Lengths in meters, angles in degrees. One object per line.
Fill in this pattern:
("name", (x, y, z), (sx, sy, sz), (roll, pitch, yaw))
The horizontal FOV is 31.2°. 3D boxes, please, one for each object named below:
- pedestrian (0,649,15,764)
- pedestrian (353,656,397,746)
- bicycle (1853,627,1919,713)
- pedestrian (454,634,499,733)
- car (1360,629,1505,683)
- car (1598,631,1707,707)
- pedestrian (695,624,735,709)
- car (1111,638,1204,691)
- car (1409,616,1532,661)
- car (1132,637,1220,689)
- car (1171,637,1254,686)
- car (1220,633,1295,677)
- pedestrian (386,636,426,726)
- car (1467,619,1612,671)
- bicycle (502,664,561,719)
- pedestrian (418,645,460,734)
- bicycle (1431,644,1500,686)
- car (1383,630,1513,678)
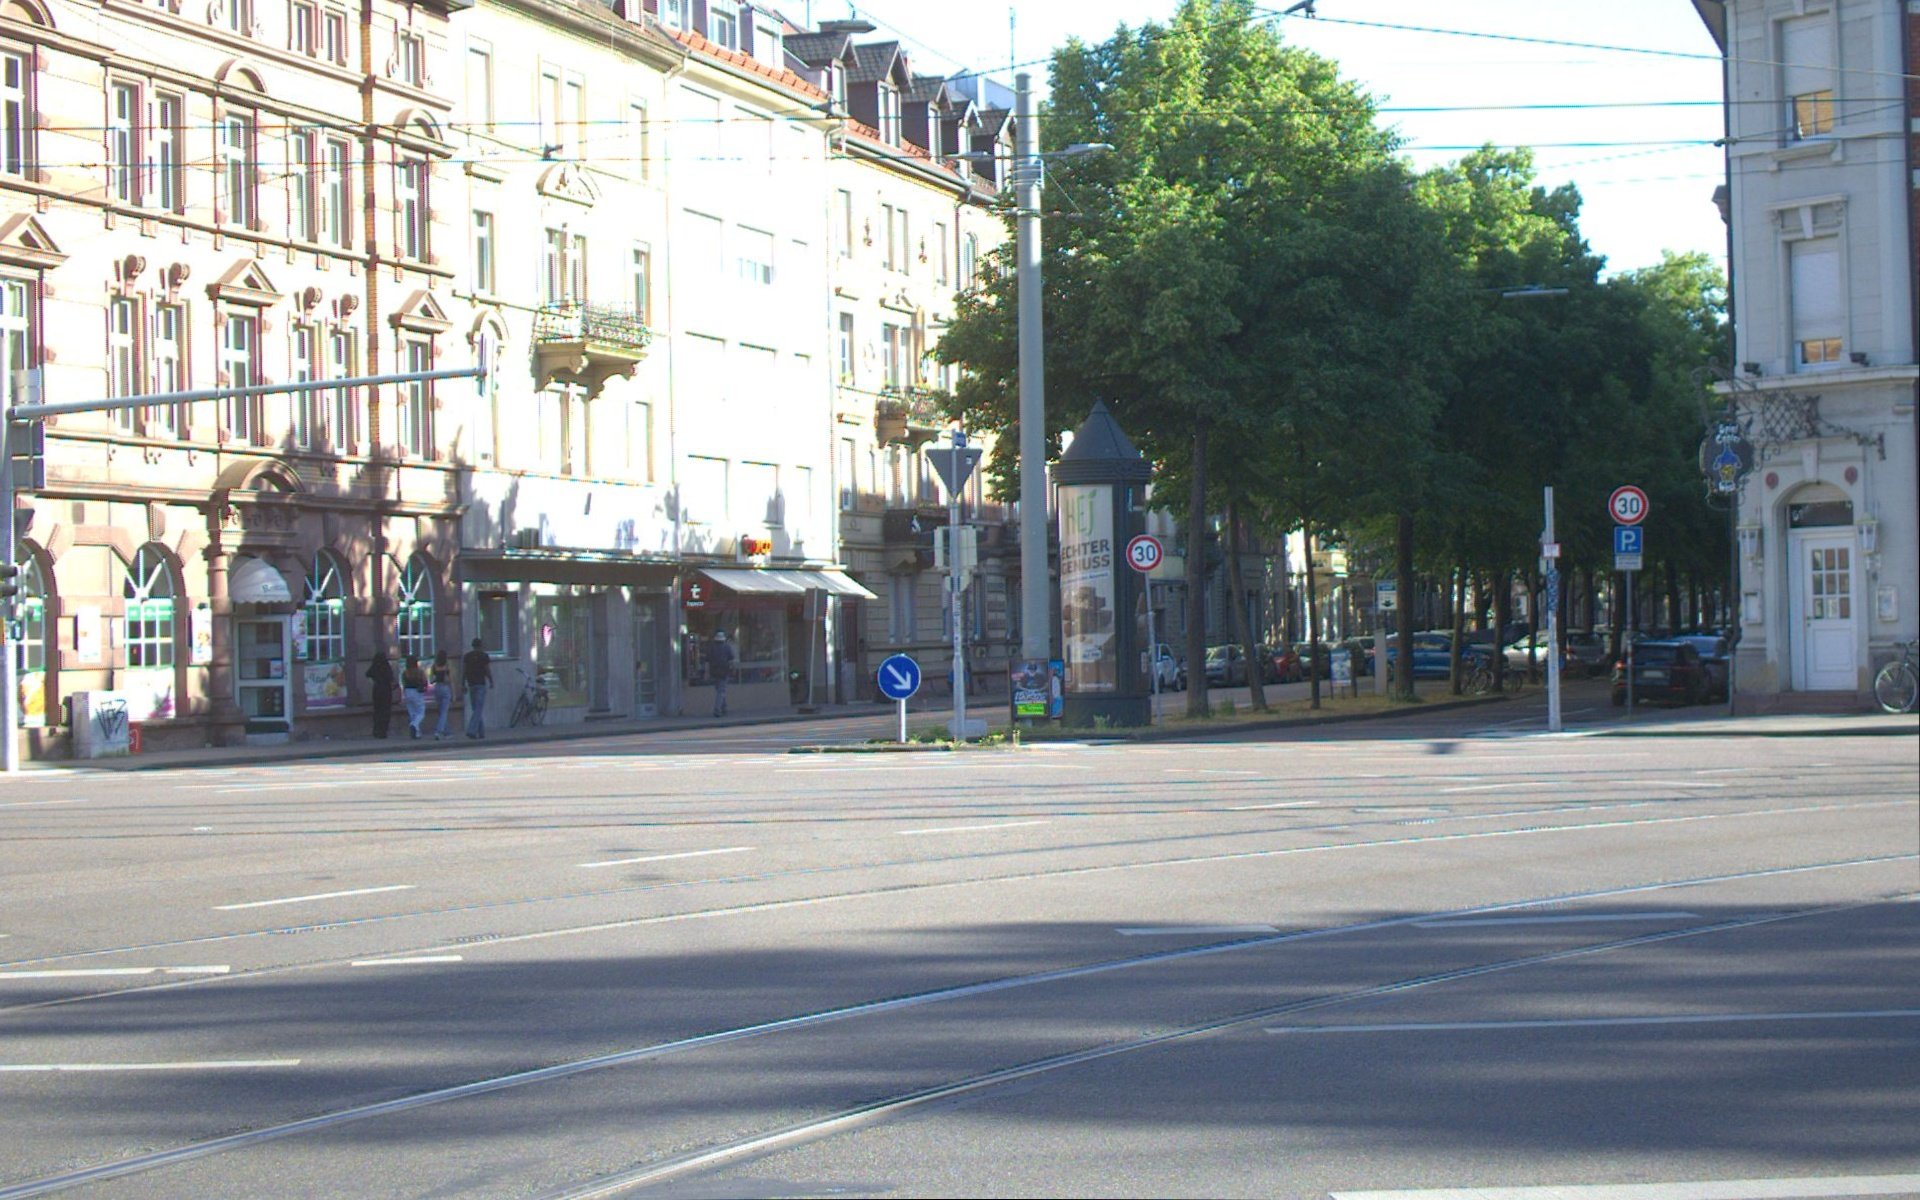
("pedestrian", (-13.953, 1.524, 49.147), (0.631, 1.636, 0.552), (-1, 0, 14))
("pedestrian", (-10.837, 1.866, 63.715), (0.627, 1.636, 0.537), (-1, 0, 11))
("bicycle", (13.654, 0.968, 48.464), (1.961, 1.187, 0.546), (-1, 0, 6))
("pedestrian", (-9.050, 1.564, 64.304), (0.580, 1.830, 0.632), (-2, 0, 17))
("car", (14.693, 1.740, 106.946), (3.993, 1.540, 1.997), (-2, 0, 29))
("car", (14.874, 1.465, 73.676), (1.995, 1.492, 4.031), (-1, 0, 15))
("pedestrian", (-5.609, 1.516, 78.620), (0.682, 1.902, 0.632), (-2, 0, 17))
("car", (6.018, 1.935, 104.311), (1.995, 1.492, 4.031), (-1, 0, 15))
("car", (18.645, 1.398, 125.563), (3.993, 1.540, 1.997), (-2, 0, 29))
("car", (6.838, 1.978, 108.608), (1.995, 1.492, 4.031), (-1, 0, 15))
("car", (8.380, 2.027, 113.987), (1.995, 1.492, 4.031), (-1, 0, 15))
("car", (10.665, 1.956, 123.028), (1.995, 1.492, 4.031), (-1, 0, 15))
("pedestrian", (-10.273, 1.503, 63.748), (0.551, 1.636, 0.537), (-1, 0, 10))
("car", (18.150, 1.413, 107.747), (3.994, 1.540, 1.996), (-2, 0, 32))
("bicycle", (-8.876, 1.891, 71.281), (0.495, 1.063, 1.768), (-2, 0, 17))
("pedestrian", (-9.657, 1.654, 63.757), (0.551, 1.636, 0.632), (-1, 0, 12))
("bicycle", (13.317, 1.716, 90.542), (0.582, 1.063, 1.949), (-1, 0, -35))
("car", (16.955, 1.884, 119.528), (3.993, 1.540, 1.997), (-2, 0, 29))
